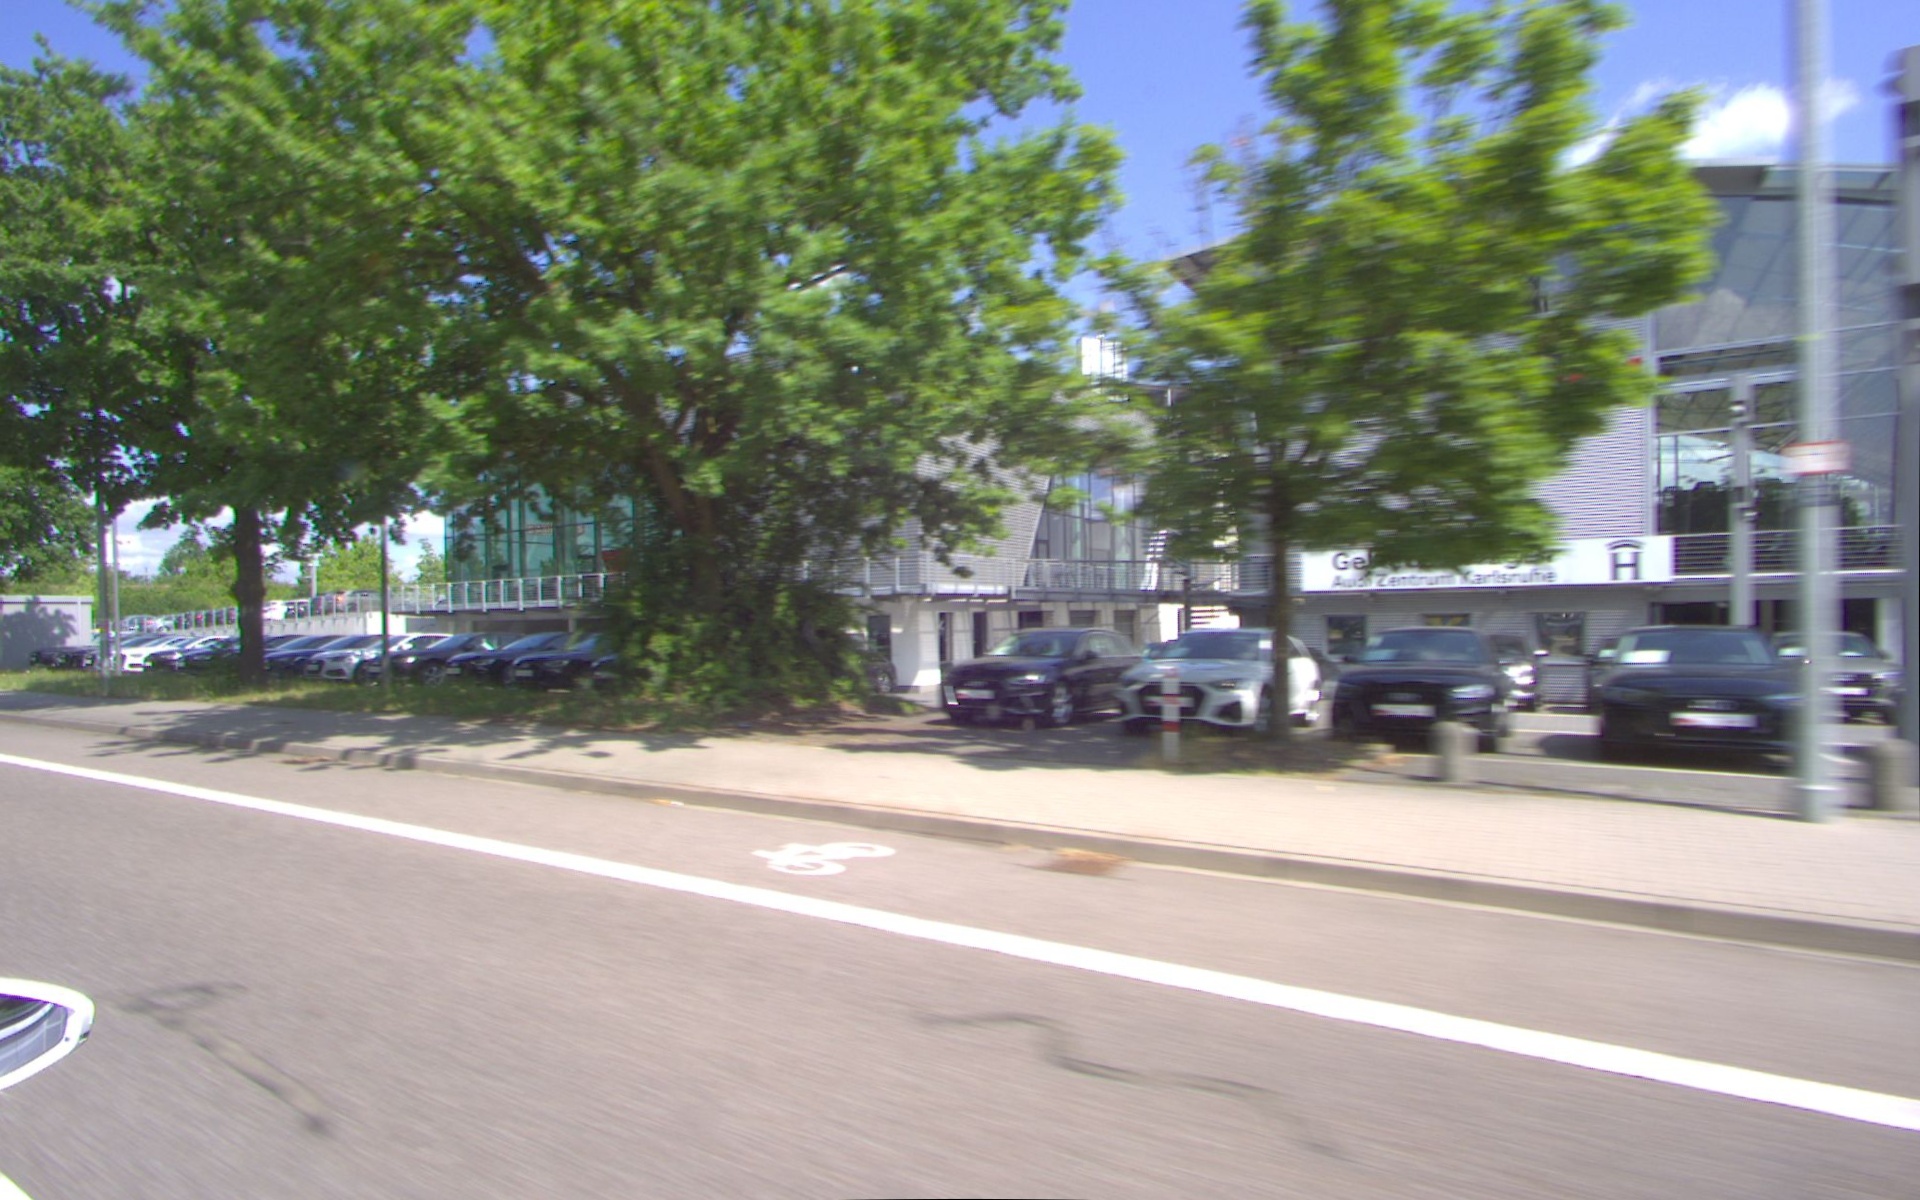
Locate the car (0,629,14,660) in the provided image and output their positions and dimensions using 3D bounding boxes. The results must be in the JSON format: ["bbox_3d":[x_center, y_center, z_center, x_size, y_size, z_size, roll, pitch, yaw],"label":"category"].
[{"bbox_3d":[-49.756,2.187,49.235,1.907,1.532,4.350,1,-1,30],"label":"car"}]

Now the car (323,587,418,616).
[{"bbox_3d":[-34.109,0.117,58.051,1.909,1.572,4.344,1,-1,35],"label":"car"}]

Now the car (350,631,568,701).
[{"bbox_3d":[-12.302,1.564,24.901,1.880,1.518,4.567,-1,-1,32],"label":"car"}]

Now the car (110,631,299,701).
[{"bbox_3d":[-24.622,2.079,32.822,1.879,2.076,4.568,1,-1,32],"label":"car"}]

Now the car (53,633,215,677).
[{"bbox_3d":[-29.289,1.907,35.645,1.829,1.463,4.100,-1,-2,32],"label":"car"}]

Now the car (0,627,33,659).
[{"bbox_3d":[-47.666,2.060,48.019,1.907,1.532,4.350,1,-1,30],"label":"car"}]

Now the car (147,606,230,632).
[{"bbox_3d":[-55.501,1.390,72.088,1.909,1.798,4.344,1,-1,35],"label":"car"}]

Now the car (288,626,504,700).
[{"bbox_3d":[-14.501,1.570,26.033,1.879,1.700,4.568,1,-1,32],"label":"car"}]

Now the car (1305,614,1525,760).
[{"bbox_3d":[5.725,0.984,12.250,1.879,1.401,4.570,1,-3,32],"label":"car"}]

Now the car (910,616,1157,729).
[{"bbox_3d":[1.312,1.052,15.372,1.879,1.422,4.569,1,-2,32],"label":"car"}]

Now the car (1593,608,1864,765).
[{"bbox_3d":[8.098,0.930,10.980,1.879,1.313,4.572,1,-4,32],"label":"car"}]

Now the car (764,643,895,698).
[{"bbox_3d":[-4.109,2.198,32.192,1.880,1.518,4.339,-1,-1,32],"label":"car"}]

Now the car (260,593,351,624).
[{"bbox_3d":[-40.649,0.529,62.268,1.909,1.798,4.344,1,-1,35],"label":"car"}]

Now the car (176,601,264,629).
[{"bbox_3d":[-49.454,1.034,67.002,1.909,1.798,4.344,1,-1,35],"label":"car"}]

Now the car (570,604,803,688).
[{"bbox_3d":[-5.438,0.885,20.534,1.880,1.518,4.567,-1,-1,32],"label":"car"}]

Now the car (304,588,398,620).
[{"bbox_3d":[-36.048,0.259,59.389,1.909,1.798,4.344,1,-1,35],"label":"car"}]

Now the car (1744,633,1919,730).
[{"bbox_3d":[16.115,1.412,18.650,1.880,1.518,4.339,-1,-1,32],"label":"car"}]

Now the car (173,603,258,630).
[{"bbox_3d":[-51.205,1.134,68.958,1.909,1.798,4.344,1,-1,35],"label":"car"}]

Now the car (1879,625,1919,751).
[{"bbox_3d":[10.472,0.910,9.376,1.879,1.314,4.568,1,-1,32],"label":"car"}]

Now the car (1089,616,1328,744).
[{"bbox_3d":[3.604,1.091,13.826,1.879,1.422,4.571,1,-4,32],"label":"car"}]

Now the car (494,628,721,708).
[{"bbox_3d":[-7.592,1.412,22.037,1.880,1.518,4.567,-1,-1,32],"label":"car"}]

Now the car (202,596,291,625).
[{"bbox_3d":[-46.802,0.703,65.757,1.909,1.798,4.344,1,-1,35],"label":"car"}]

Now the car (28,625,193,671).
[{"bbox_3d":[-31.474,1.736,37.234,1.829,1.532,4.346,-1,-1,32],"label":"car"}]

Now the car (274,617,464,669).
[{"bbox_3d":[-17.619,1.258,30.077,1.879,1.423,4.568,1,-1,32],"label":"car"}]

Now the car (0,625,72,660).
[{"bbox_3d":[-43.336,1.916,45.294,1.907,1.532,4.350,1,-1,30],"label":"car"}]

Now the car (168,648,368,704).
[{"bbox_3d":[-20.653,2.227,30.086,1.879,1.423,4.568,1,-1,32],"label":"car"}]

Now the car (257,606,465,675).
[{"bbox_3d":[-16.327,1.078,27.557,1.879,1.700,4.568,1,-1,32],"label":"car"}]

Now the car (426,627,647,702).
[{"bbox_3d":[-9.825,1.437,23.590,1.880,1.518,4.567,-1,-1,32],"label":"car"}]

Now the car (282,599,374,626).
[{"bbox_3d":[-38.367,0.779,60.920,1.909,1.572,4.344,1,-1,35],"label":"car"}]

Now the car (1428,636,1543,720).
[{"bbox_3d":[11.317,1.569,21.417,1.880,1.518,4.339,-1,-1,32],"label":"car"}]

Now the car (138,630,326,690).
[{"bbox_3d":[-22.757,1.933,31.493,1.760,1.530,4.347,1,-6,32],"label":"car"}]

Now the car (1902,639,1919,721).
[{"bbox_3d":[18.192,1.476,17.336,1.880,1.518,4.339,-1,-1,32],"label":"car"}]

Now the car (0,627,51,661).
[{"bbox_3d":[-45.492,2.039,46.620,1.907,1.532,4.350,1,-1,30],"label":"car"}]

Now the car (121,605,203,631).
[{"bbox_3d":[-59.034,1.335,74.138,1.909,1.798,4.344,1,-1,35],"label":"car"}]

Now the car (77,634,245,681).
[{"bbox_3d":[-26.894,1.885,33.853,1.792,1.422,4.100,-1,-1,32],"label":"car"}]

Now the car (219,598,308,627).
[{"bbox_3d":[-45.134,0.808,65.002,1.909,1.798,4.344,1,-1,35],"label":"car"}]

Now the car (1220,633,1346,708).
[{"bbox_3d":[7.759,1.597,23.800,1.880,1.518,4.339,-1,-1,32],"label":"car"}]

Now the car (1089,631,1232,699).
[{"bbox_3d":[5.241,1.601,25.742,1.883,1.518,4.331,-2,-1,37],"label":"car"}]

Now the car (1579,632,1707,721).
[{"bbox_3d":[13.587,1.436,20.138,1.880,1.518,4.339,-1,-1,32],"label":"car"}]
